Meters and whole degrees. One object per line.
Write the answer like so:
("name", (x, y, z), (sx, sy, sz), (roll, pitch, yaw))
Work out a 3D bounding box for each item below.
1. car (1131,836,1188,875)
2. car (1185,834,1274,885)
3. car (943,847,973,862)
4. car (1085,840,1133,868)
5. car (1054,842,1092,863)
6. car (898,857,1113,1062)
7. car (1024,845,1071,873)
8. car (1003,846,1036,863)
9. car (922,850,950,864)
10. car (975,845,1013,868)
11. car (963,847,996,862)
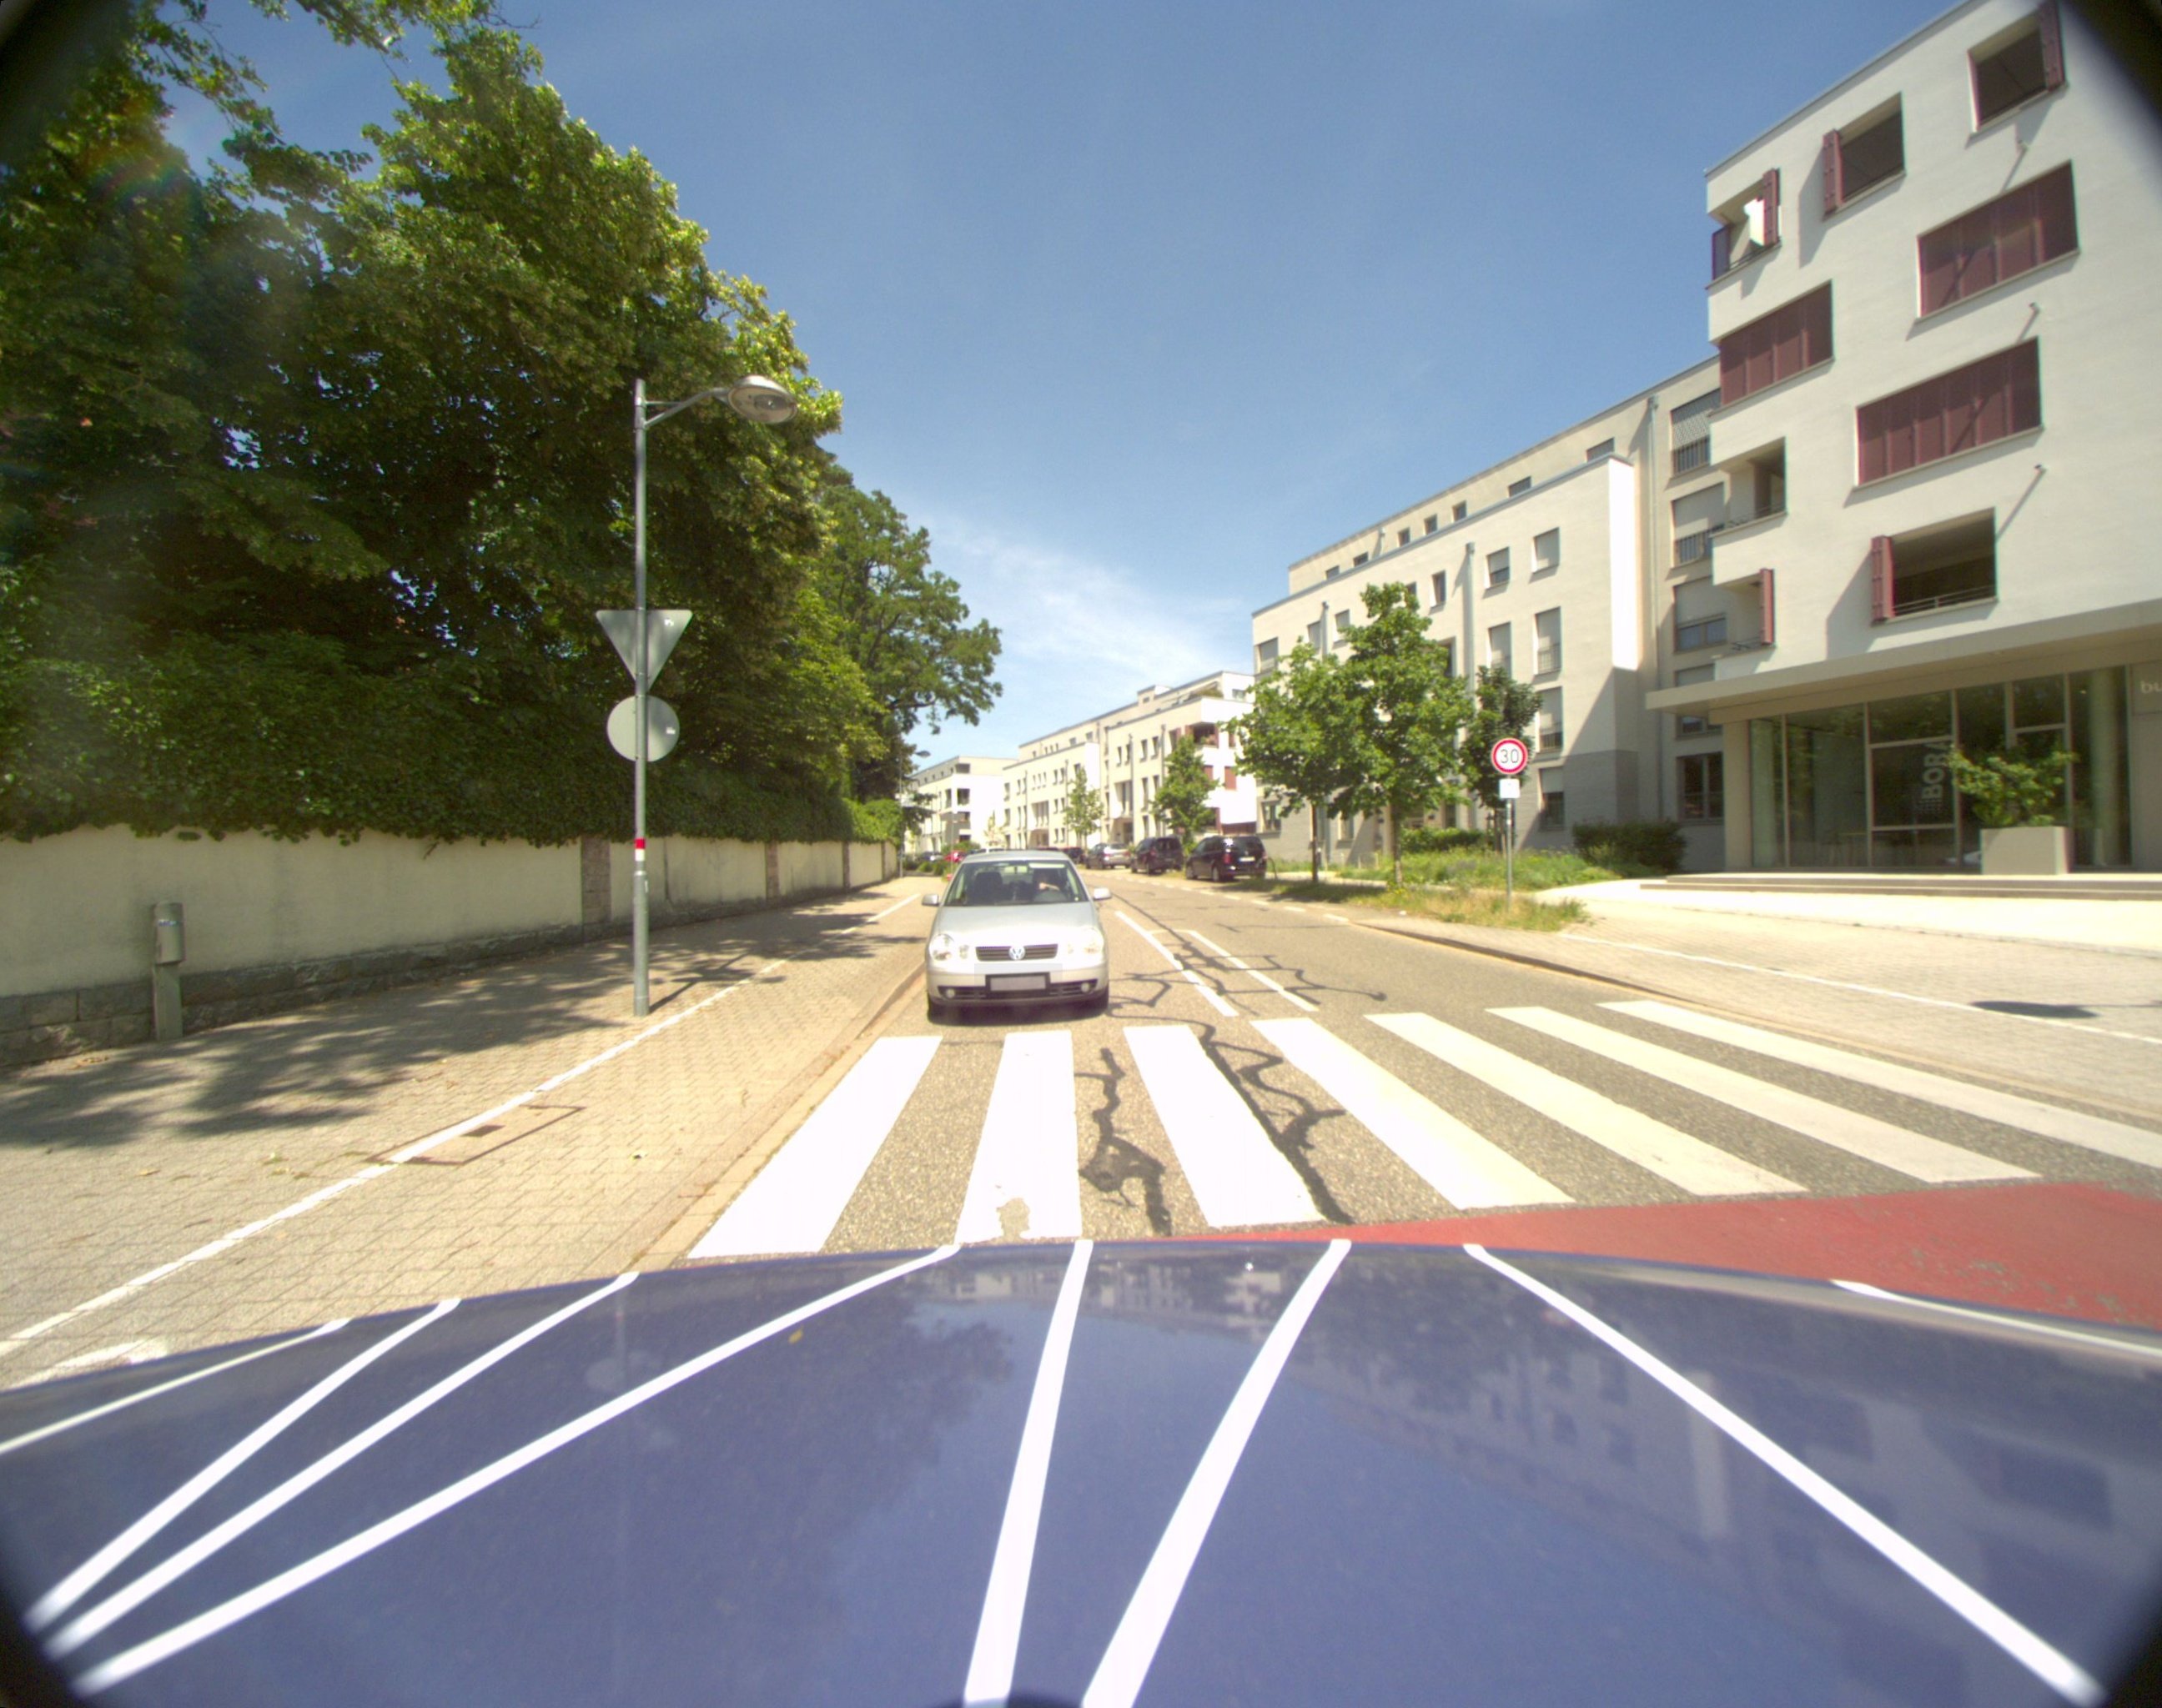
("car", (3.626, 0.039, 35.774), (1.700, 1.690, 3.623), (-2, 1, -11))
("car", (5.188, 0.155, 27.095), (1.700, 1.628, 4.016), (-2, 1, -11))
("car", (-12.755, 0.057, 78.745), (1.710, 1.405, 3.712), (-2, 1, -32))
("car", (1.612, -0.020, 45.036), (1.792, 1.581, 3.622), (-2, 1, -15))
("car", (-0.591, -0.122, 52.973), (1.708, 1.405, 3.621), (-2, 1, -17))
("car", (-0.644, 0.820, 7.870), (1.607, 1.443, 3.998), (-2, 1, -2))
("car", (-1.946, 0.272, 43.240), (1.757, 1.496, 3.986), (-2, 1, -16))
("car", (-5.320, 0.040, 65.046), (1.709, 1.405, 3.714), (-2, 1, -22))
("car", (-16.095, 0.315, 84.235), (1.710, 1.405, 3.712), (-2, 1, -32))
("car", (-6.548, 0.166, 56.909), (1.818, 1.599, 4.112), (-2, 1, -21))
("car", (-9.896, 0.067, 73.938), (1.710, 1.405, 3.712), (-2, 1, -32))
